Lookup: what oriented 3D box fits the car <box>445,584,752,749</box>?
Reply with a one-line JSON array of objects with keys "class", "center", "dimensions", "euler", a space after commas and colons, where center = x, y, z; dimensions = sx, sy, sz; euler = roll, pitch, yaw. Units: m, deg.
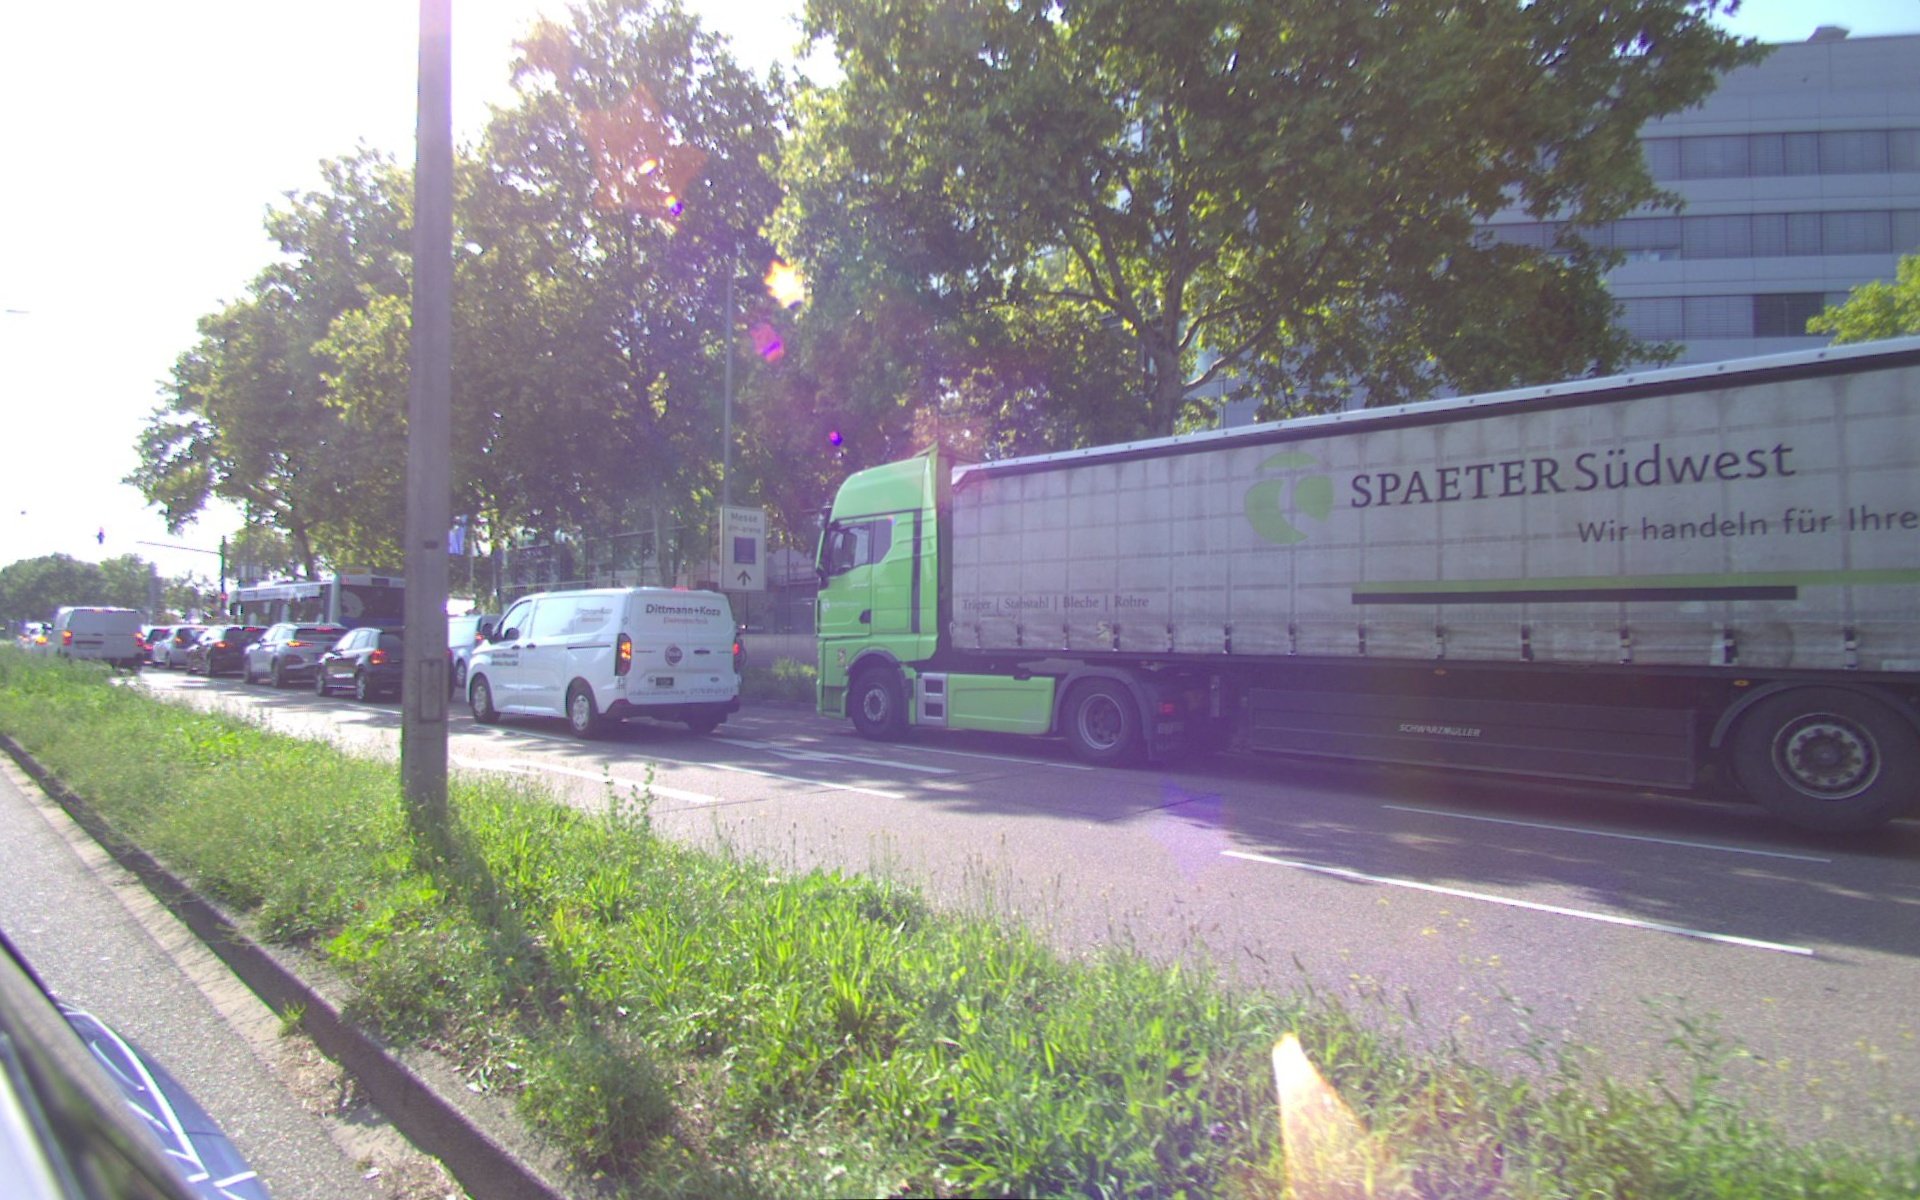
[{"class": "car", "center": [-5.319, 0.872, 14.496], "dimensions": [5.035, 1.968, 1.972], "euler": [-1, -3, 42]}]

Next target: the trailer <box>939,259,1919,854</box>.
[{"class": "trailer", "center": [5.750, -0.203, 8.700], "dimensions": [13.808, 3.851, 2.605], "euler": [-1, -4, 42]}]

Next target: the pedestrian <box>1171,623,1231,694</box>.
[{"class": "pedestrian", "center": [4.755, 1.134, 19.997], "dimensions": [1.032, 1.360, 0.492], "euler": [-1, -2, 42]}]

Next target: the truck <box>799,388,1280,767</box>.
[{"class": "truck", "center": [0.818, -0.124, 13.205], "dimensions": [5.890, 3.849, 2.579], "euler": [-1, -4, 42]}]

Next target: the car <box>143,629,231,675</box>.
[{"class": "car", "center": [-26.378, 1.751, 34.496], "dimensions": [3.821, 1.478, 1.688], "euler": [-1, -4, 42]}]

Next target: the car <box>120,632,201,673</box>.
[{"class": "car", "center": [-29.947, 1.940, 37.875], "dimensions": [3.999, 1.453, 1.688], "euler": [-1, -4, 42]}]

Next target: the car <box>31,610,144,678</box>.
[{"class": "car", "center": [-25.989, 1.319, 30.096], "dimensions": [4.888, 1.878, 1.891], "euler": [-2, -4, 42]}]

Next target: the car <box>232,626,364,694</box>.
[{"class": "car", "center": [-16.251, 1.426, 24.757], "dimensions": [4.139, 1.540, 1.676], "euler": [-1, -4, 42]}]

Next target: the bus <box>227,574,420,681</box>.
[{"class": "bus", "center": [-22.139, 0.930, 34.723], "dimensions": [12.312, 3.103, 2.562], "euler": [-1, -2, 43]}]

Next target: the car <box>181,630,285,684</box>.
[{"class": "car", "center": [-21.238, 1.635, 29.496], "dimensions": [4.189, 1.444, 1.629], "euler": [-1, -4, 43]}]

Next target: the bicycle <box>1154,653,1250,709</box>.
[{"class": "bicycle", "center": [4.756, 1.584, 19.978], "dimensions": [1.831, 1.016, 0.498], "euler": [-1, -2, 42]}]

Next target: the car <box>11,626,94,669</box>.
[{"class": "car", "center": [-31.623, 1.666, 35.233], "dimensions": [4.083, 1.413, 1.690], "euler": [-3, -5, 43]}]

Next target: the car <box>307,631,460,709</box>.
[{"class": "car", "center": [-11.693, 1.359, 20.415], "dimensions": [3.858, 1.409, 1.596], "euler": [-1, -4, 44]}]

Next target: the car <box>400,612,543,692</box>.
[{"class": "car", "center": [-12.801, 1.323, 26.380], "dimensions": [4.748, 1.902, 1.685], "euler": [-1, -4, 43]}]
